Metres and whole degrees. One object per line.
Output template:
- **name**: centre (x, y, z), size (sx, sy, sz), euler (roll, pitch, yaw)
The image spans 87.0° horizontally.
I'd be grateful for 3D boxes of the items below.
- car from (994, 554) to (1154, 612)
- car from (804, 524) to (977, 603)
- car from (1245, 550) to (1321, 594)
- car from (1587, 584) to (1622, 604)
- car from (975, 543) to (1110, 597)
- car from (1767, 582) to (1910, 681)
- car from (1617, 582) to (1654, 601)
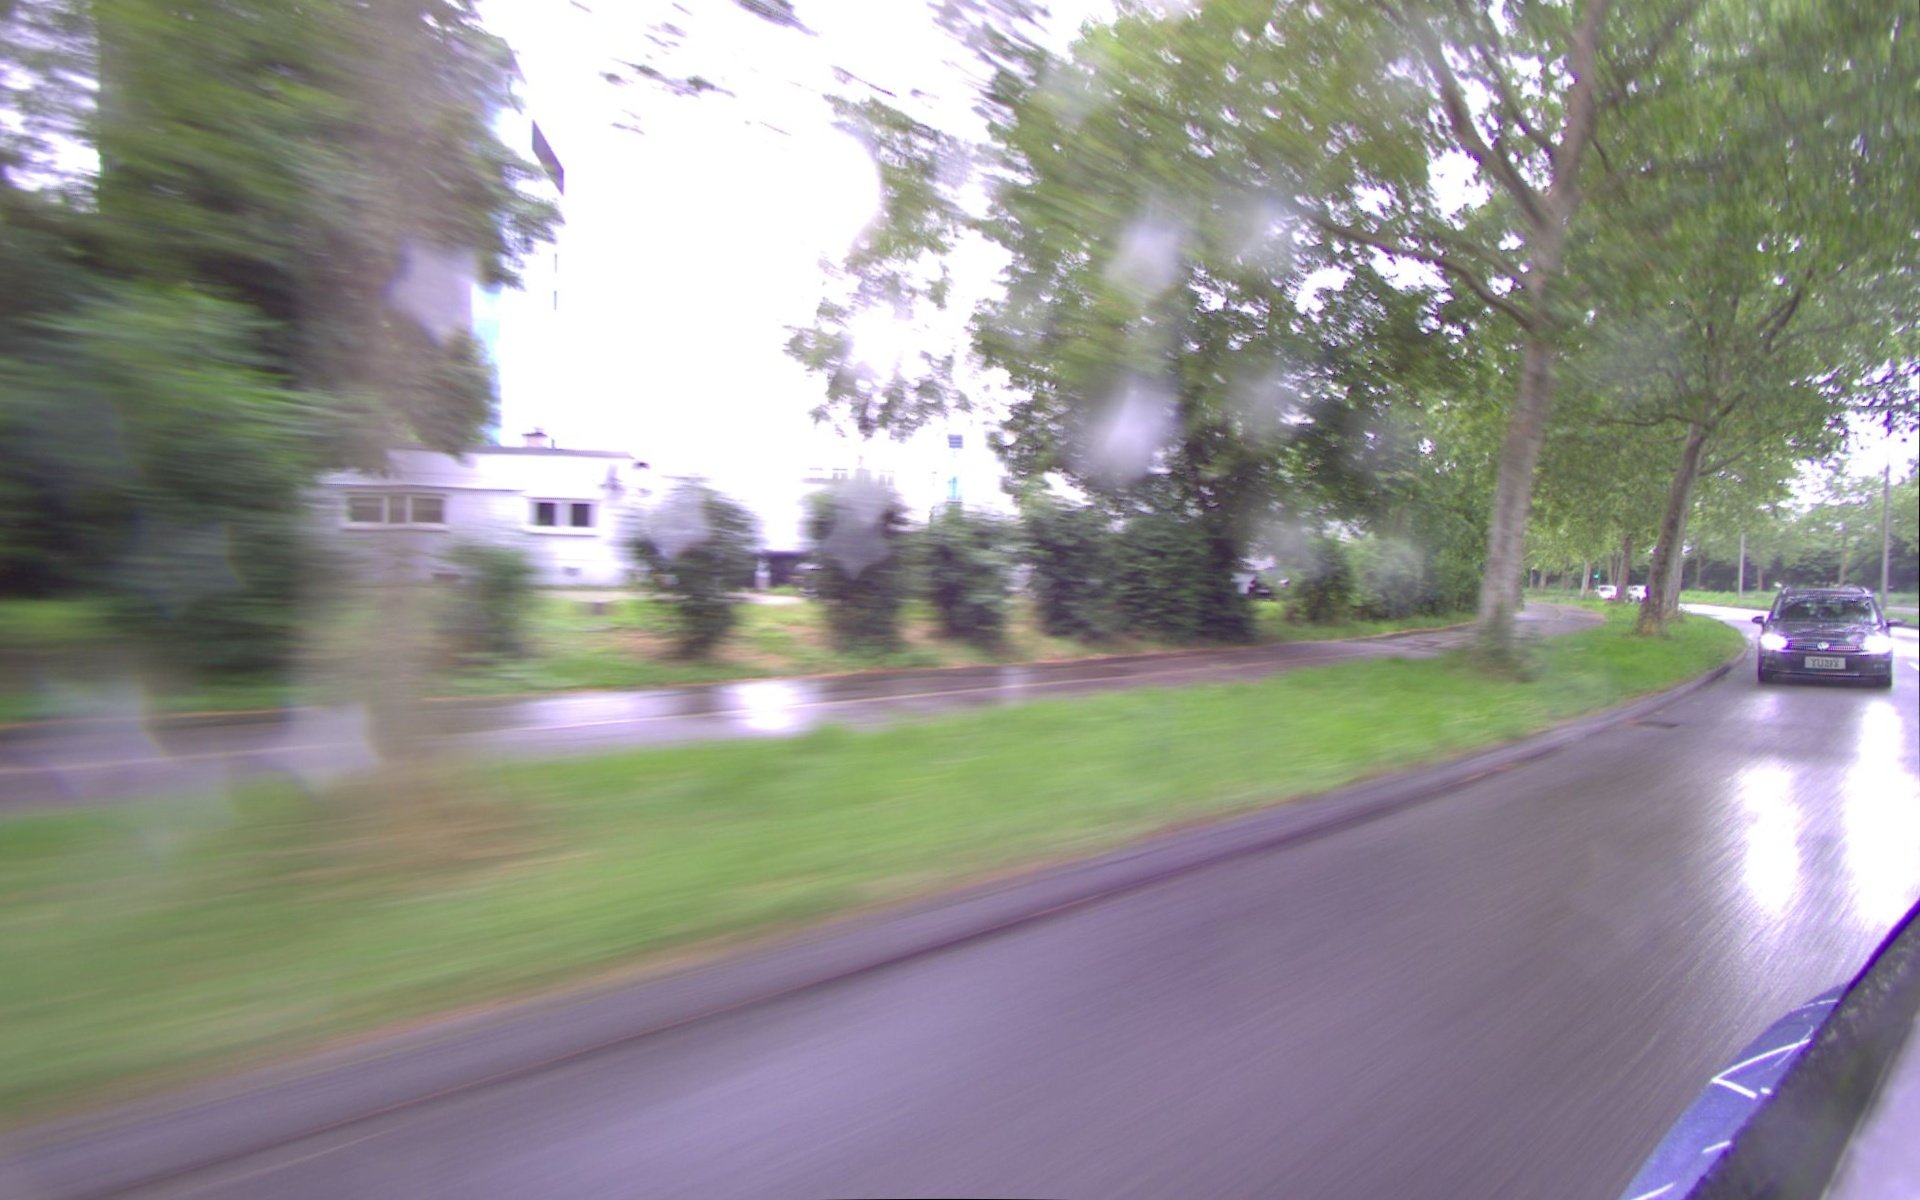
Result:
- **car**: centre (3.159, -0.453, 28.267), size (4.124, 1.501, 1.748), euler (1, -1, 32)
- **car**: centre (-1.615, -0.721, 22.127), size (1.736, 1.501, 4.153), euler (2, -1, -38)
- **car**: centre (13.614, -1.141, 42.516), size (1.759, 1.602, 4.099), euler (0, -2, 37)
- **car**: centre (53.129, -0.521, 83.484), size (1.765, 1.575, 3.969), euler (1, 1, 23)
- **car**: centre (2.952, -1.046, 36.158), size (4.538, 1.854, 1.758), euler (0, 0, 18)
- **car**: centre (15.773, 0.491, 18.225), size (1.778, 1.575, 3.941), euler (0, 0, 41)
- **car**: centre (56.511, -0.701, 84.753), size (1.764, 1.575, 3.970), euler (1, 1, 22)
